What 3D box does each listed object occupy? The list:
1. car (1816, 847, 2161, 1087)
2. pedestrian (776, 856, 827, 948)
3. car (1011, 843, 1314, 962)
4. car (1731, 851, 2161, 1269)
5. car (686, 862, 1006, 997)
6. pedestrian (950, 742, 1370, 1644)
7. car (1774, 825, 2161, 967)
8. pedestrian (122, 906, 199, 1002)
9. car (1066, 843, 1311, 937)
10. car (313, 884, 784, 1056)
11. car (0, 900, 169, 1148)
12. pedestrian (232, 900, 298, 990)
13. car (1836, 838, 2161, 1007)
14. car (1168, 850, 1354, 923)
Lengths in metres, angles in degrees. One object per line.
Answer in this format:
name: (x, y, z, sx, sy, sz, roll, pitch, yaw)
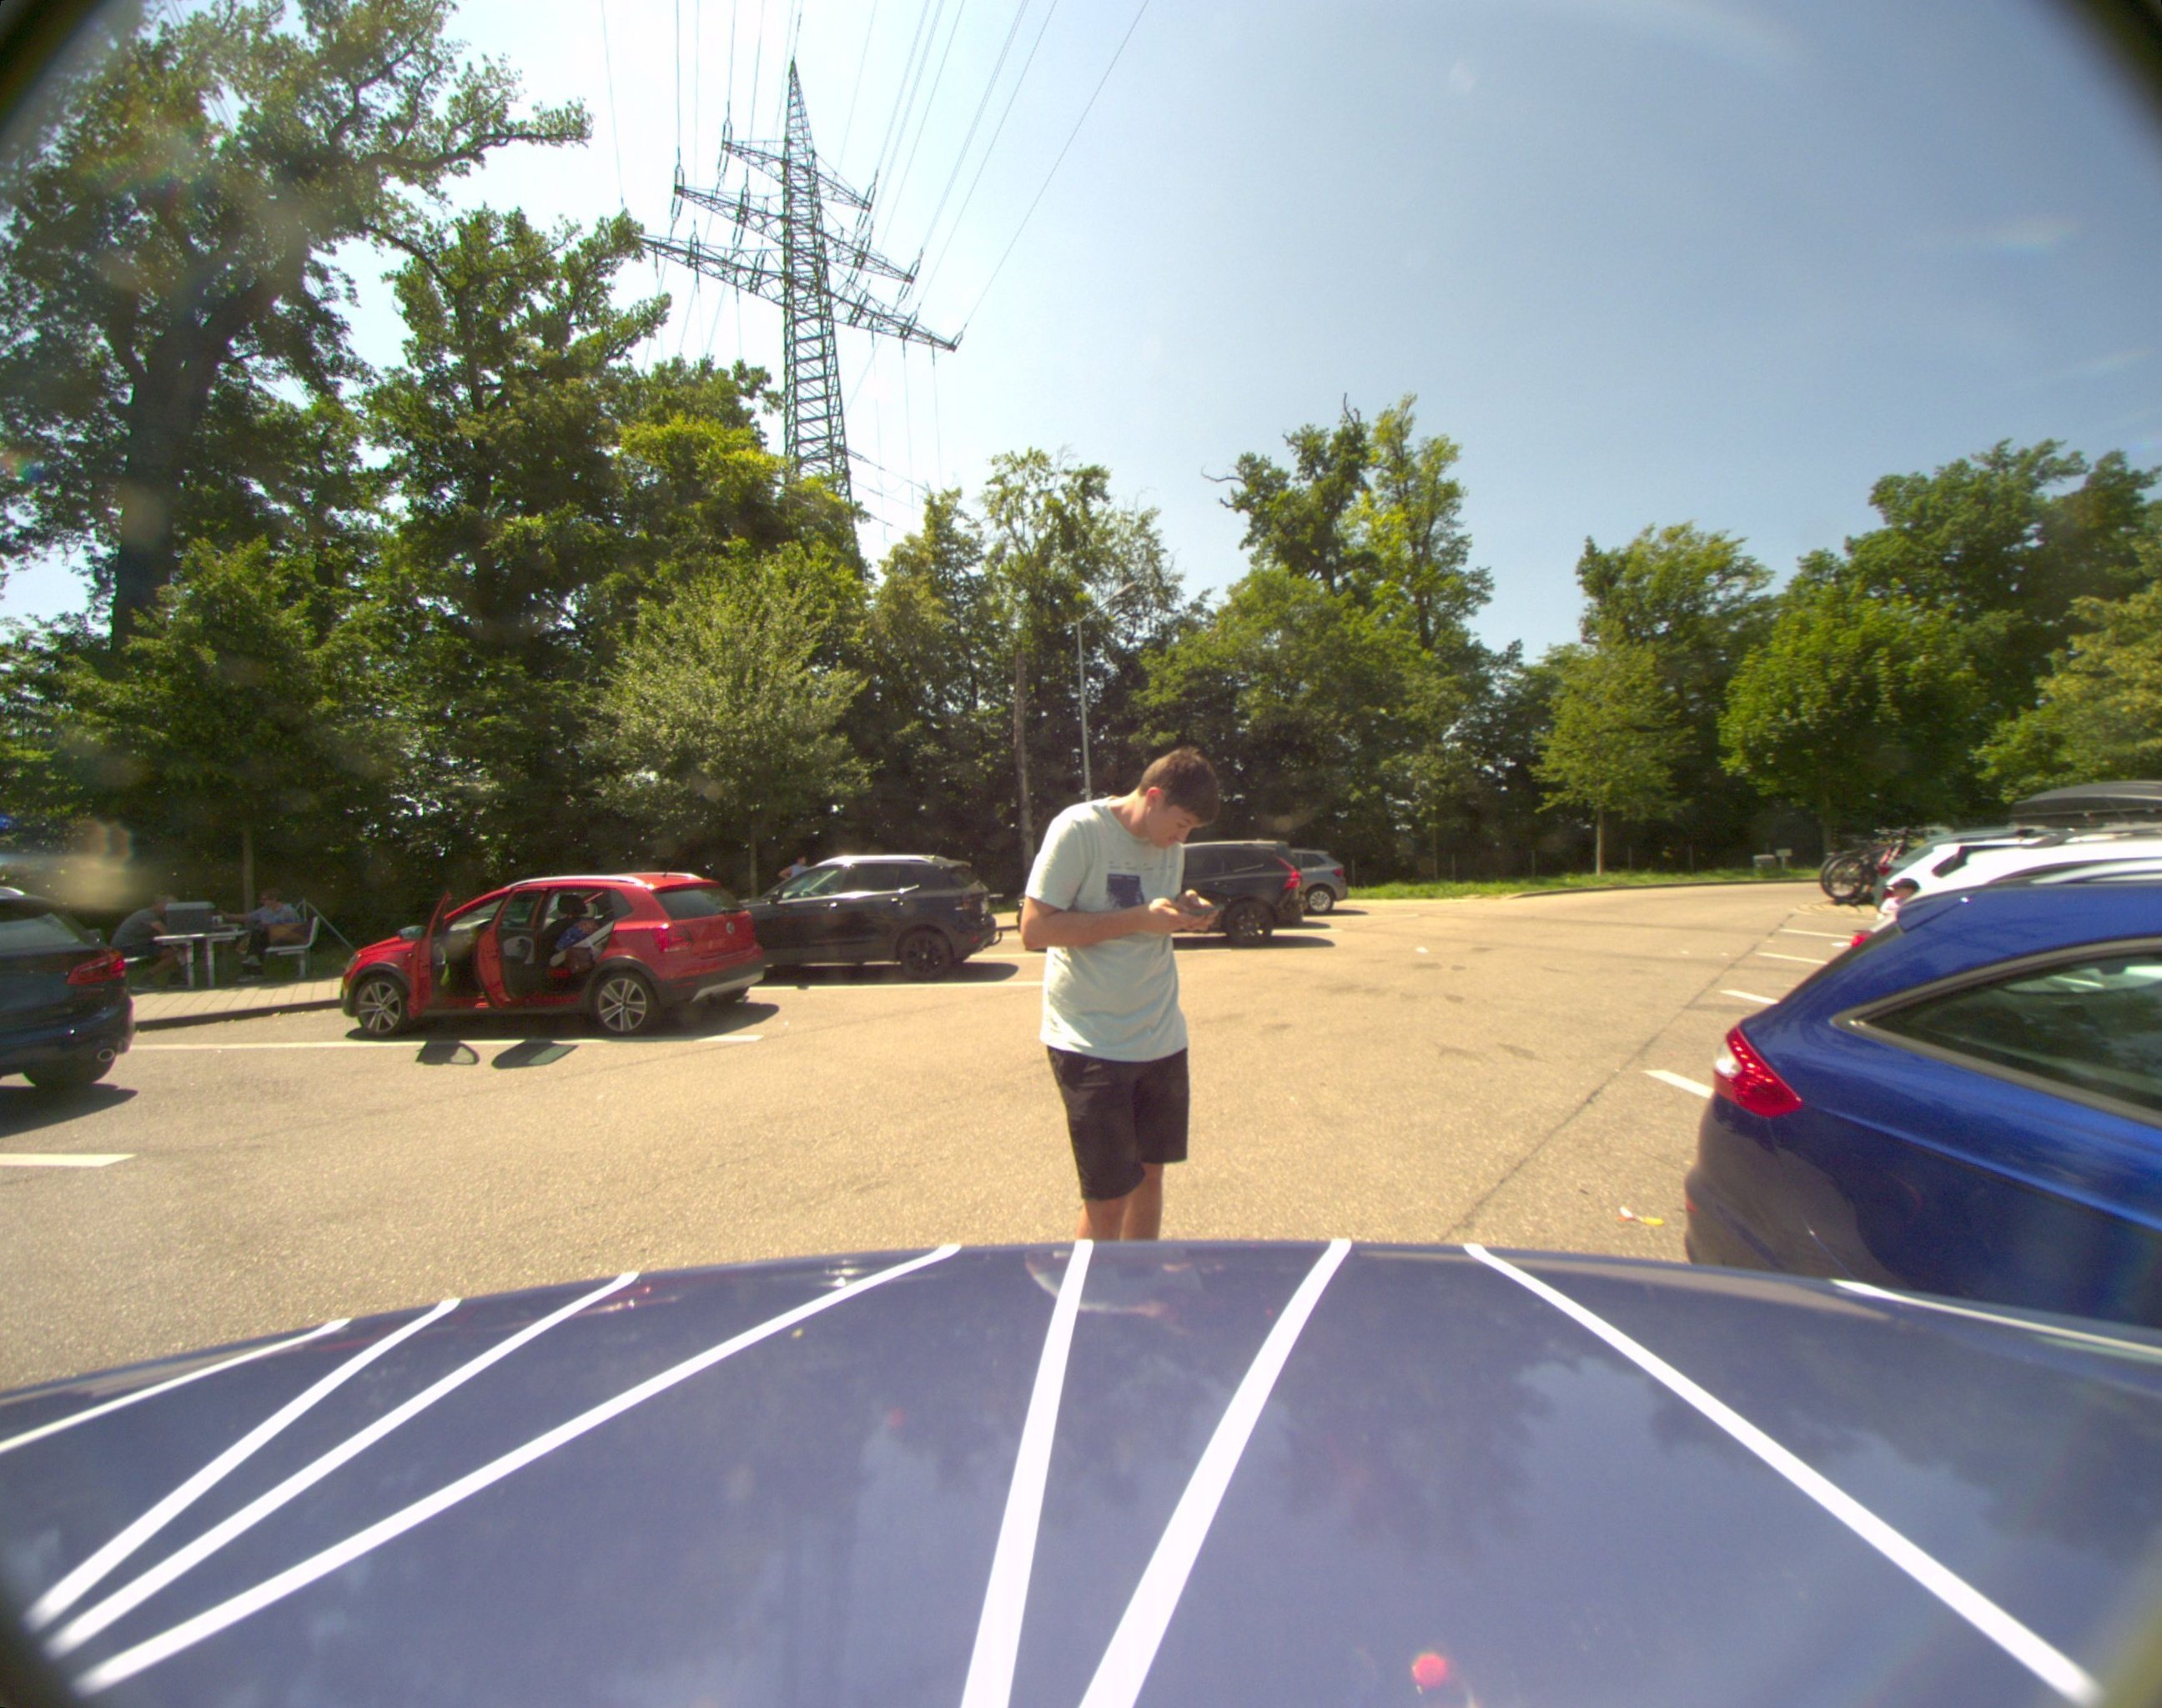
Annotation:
car: (7.483, 0.674, 4.512, 1.776, 1.418, 4.495, -3, -1, -1)
pedestrian: (-5.768, 0.977, 15.685, 0.767, 1.821, 0.519, -3, 2, -39)
car: (1.287, 0.748, 12.730, 4.613, 1.703, 2.000, -2, 1, 2)
car: (4.880, 0.743, 2.354, 1.776, 1.491, 4.495, -3, -1, -1)
car: (-3.025, 0.952, 10.314, 3.732, 1.578, 1.739, -2, 0, 2)
pedestrian: (0.189, 0.718, 2.109, 0.862, 1.940, 0.687, -3, 1, -25)
car: (12.547, 0.476, 10.370, 1.777, 1.541, 4.493, -3, -1, -5)
pedestrian: (-12.624, 1.346, 10.439, 0.695, 1.228, 0.588, -3, 0, 43)
car: (2.147, 0.713, 15.471, 4.619, 1.701, 1.740, -2, 0, 9)
car: (-5.182, 1.095, 7.637, 3.730, 1.440, 1.591, -2, 0, 7)
car: (-8.877, 1.168, 4.992, 3.934, 1.534, 1.812, -2, 0, 7)
pedestrian: (-11.943, 1.312, 11.128, 0.695, 1.228, 0.588, -3, 0, 43)
car: (10.116, 0.571, 6.899, 1.777, 1.418, 4.493, -3, -1, -5)
car: (4.151, 0.743, 18.010, 3.996, 1.495, 1.687, -2, 1, 3)
